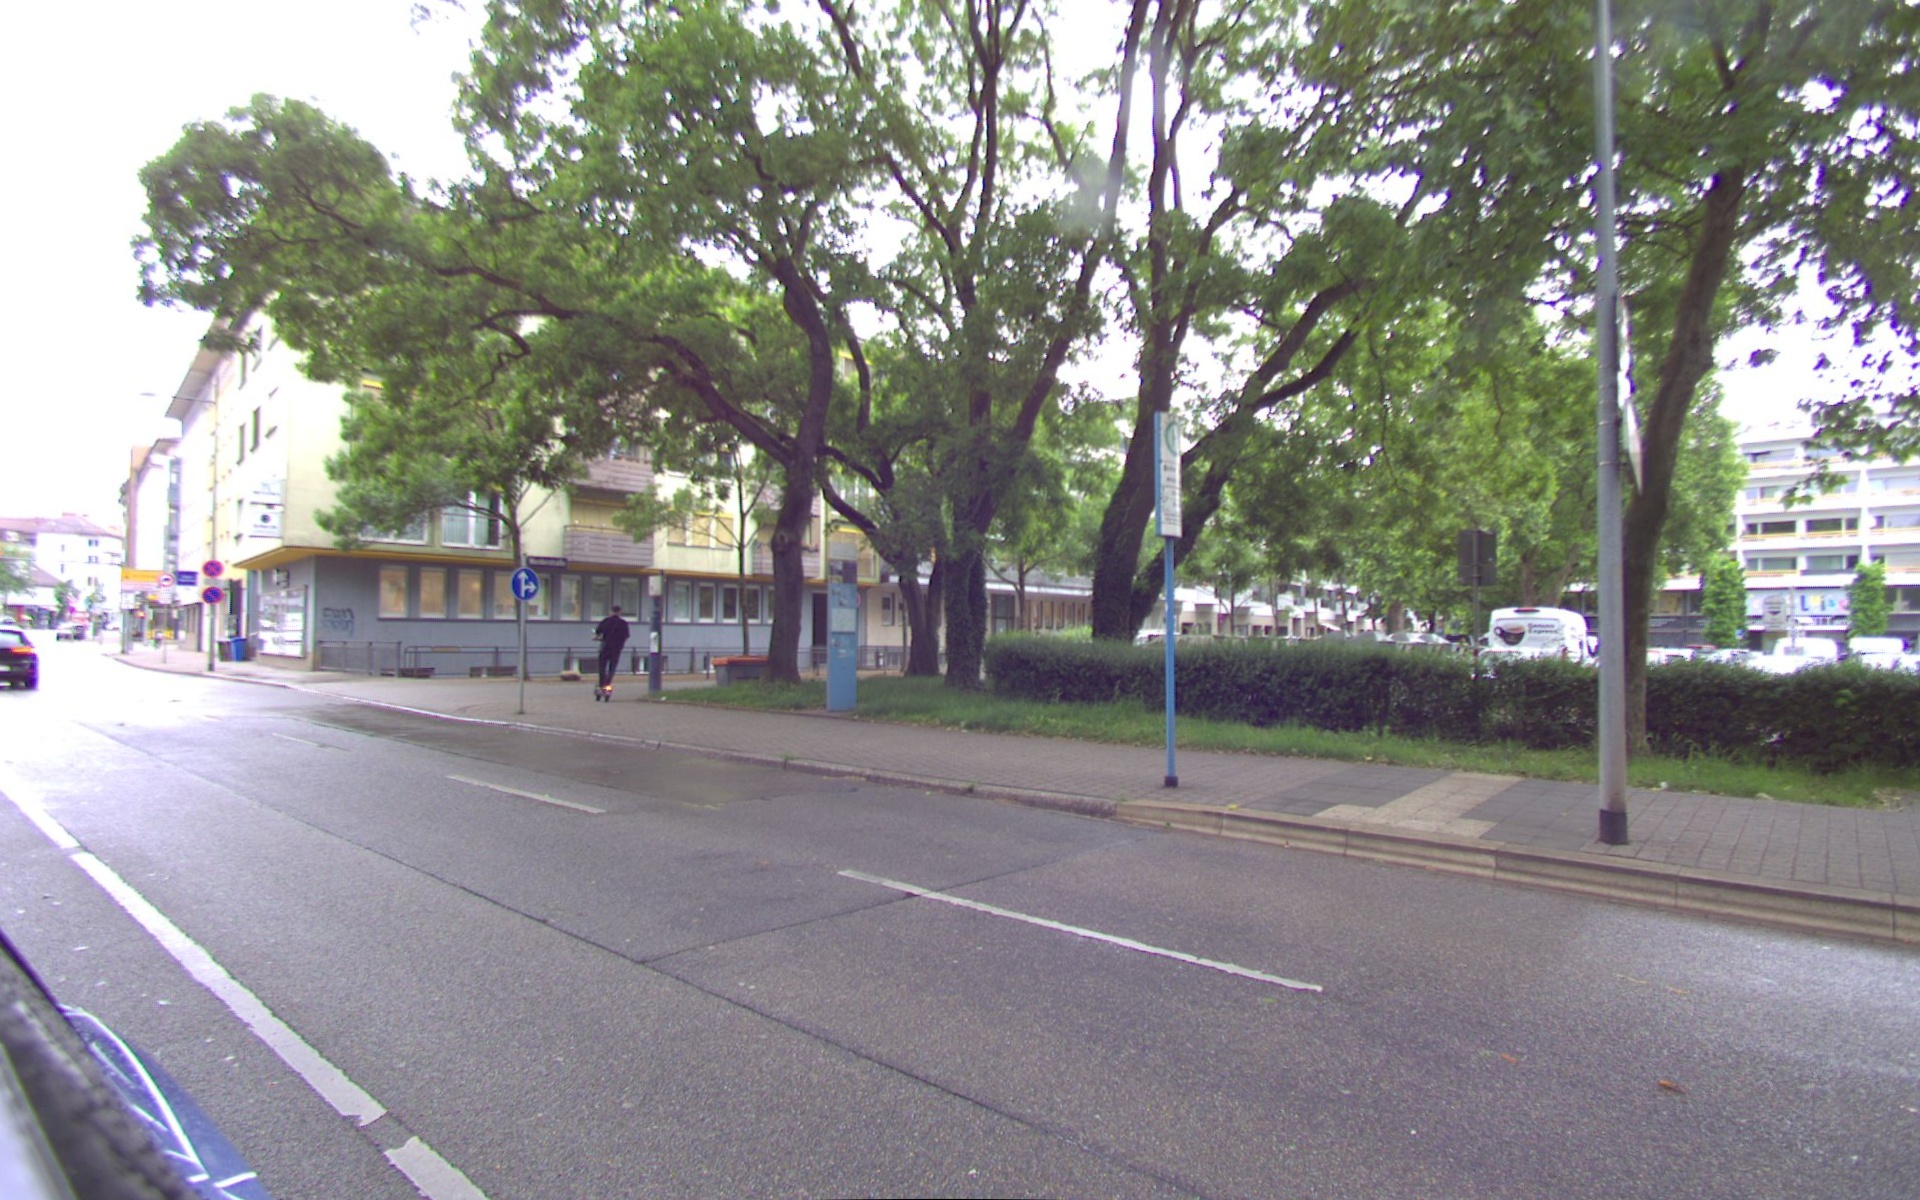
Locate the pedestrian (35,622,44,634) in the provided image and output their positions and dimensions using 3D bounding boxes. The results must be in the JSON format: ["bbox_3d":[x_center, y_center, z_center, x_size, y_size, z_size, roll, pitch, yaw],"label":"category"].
[{"bbox_3d":[-120.162,3.665,132.105,0.643,1.541,0.636,-1,0,34],"label":"pedestrian"}]

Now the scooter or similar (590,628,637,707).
[{"bbox_3d":[-6.882,1.307,20.127,0.803,1.456,1.402,-2,-1,-17],"label":"scooter or similar"}]

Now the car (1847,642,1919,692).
[{"bbox_3d":[33.346,2.357,36.461,1.895,1.497,3.948,-1,0,39],"label":"car"}]

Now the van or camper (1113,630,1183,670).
[{"bbox_3d":[10.381,2.739,55.603,1.825,2.029,4.576,1,-2,38],"label":"van or camper"}]

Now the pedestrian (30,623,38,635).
[{"bbox_3d":[-121.377,3.739,132.616,0.643,1.541,0.636,-1,0,36],"label":"pedestrian"}]

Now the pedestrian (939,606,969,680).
[{"bbox_3d":[-0.171,1.187,28.202,0.770,2.029,0.753,0,-2,-6],"label":"pedestrian"}]

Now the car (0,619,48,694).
[{"bbox_3d":[-22.513,1.265,23.225,4.136,1.638,1.826,-2,-4,41],"label":"car"}]

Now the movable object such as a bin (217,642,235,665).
[{"bbox_3d":[-30.715,2.233,42.337,0.521,0.935,0.426,-3,1,-42],"label":"movable object such as a bin"}]

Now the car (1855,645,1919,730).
[{"bbox_3d":[20.496,1.808,21.607,1.895,1.497,3.948,-1,0,39],"label":"car"}]

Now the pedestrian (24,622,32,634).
[{"bbox_3d":[-120.110,3.616,130.437,0.634,1.541,0.646,-1,0,-39],"label":"pedestrian"}]

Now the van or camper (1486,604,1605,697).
[{"bbox_3d":[16.905,1.421,29.147,2.099,2.450,4.280,-2,-3,42],"label":"van or camper"}]

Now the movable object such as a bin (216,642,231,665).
[{"bbox_3d":[-31.084,2.265,42.710,0.458,0.935,0.429,-3,1,-42],"label":"movable object such as a bin"}]

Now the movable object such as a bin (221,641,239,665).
[{"bbox_3d":[-30.033,2.181,41.653,0.522,0.968,0.435,-3,1,-42],"label":"movable object such as a bin"}]

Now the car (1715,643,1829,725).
[{"bbox_3d":[18.599,1.839,23.215,1.895,1.497,3.948,-1,0,39],"label":"car"}]

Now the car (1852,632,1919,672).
[{"bbox_3d":[40.313,2.221,44.158,1.895,1.497,3.948,-1,0,39],"label":"car"}]

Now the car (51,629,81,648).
[{"bbox_3d":[-82.240,3.542,93.132,1.807,1.634,4.007,2,-3,-39],"label":"car"}]

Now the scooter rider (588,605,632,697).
[{"bbox_3d":[-6.964,1.005,20.140,0.723,1.779,0.647,1,-1,-13],"label":"scooter rider"}]

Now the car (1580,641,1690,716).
[{"bbox_3d":[16.720,1.870,24.999,1.895,1.497,3.948,-1,0,39],"label":"car"}]

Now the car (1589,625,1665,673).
[{"bbox_3d":[24.045,1.721,36.440,1.895,1.497,3.948,-1,0,39],"label":"car"}]

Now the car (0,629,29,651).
[{"bbox_3d":[-72.922,3.026,76.492,1.728,1.580,4.704,-1,-1,-14],"label":"car"}]

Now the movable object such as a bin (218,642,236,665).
[{"bbox_3d":[-30.393,2.234,41.985,0.522,0.902,0.435,-3,1,-42],"label":"movable object such as a bin"}]

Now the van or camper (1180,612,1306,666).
[{"bbox_3d":[14.000,1.905,49.497,2.561,2.420,8.535,-2,-3,41],"label":"van or camper"}]

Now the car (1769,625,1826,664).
[{"bbox_3d":[41.882,2.182,50.679,2.097,1.735,3.948,-1,0,39],"label":"car"}]

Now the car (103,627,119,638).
[{"bbox_3d":[-127.144,4.842,151.628,1.567,1.539,3.496,2,-3,-36],"label":"car"}]
